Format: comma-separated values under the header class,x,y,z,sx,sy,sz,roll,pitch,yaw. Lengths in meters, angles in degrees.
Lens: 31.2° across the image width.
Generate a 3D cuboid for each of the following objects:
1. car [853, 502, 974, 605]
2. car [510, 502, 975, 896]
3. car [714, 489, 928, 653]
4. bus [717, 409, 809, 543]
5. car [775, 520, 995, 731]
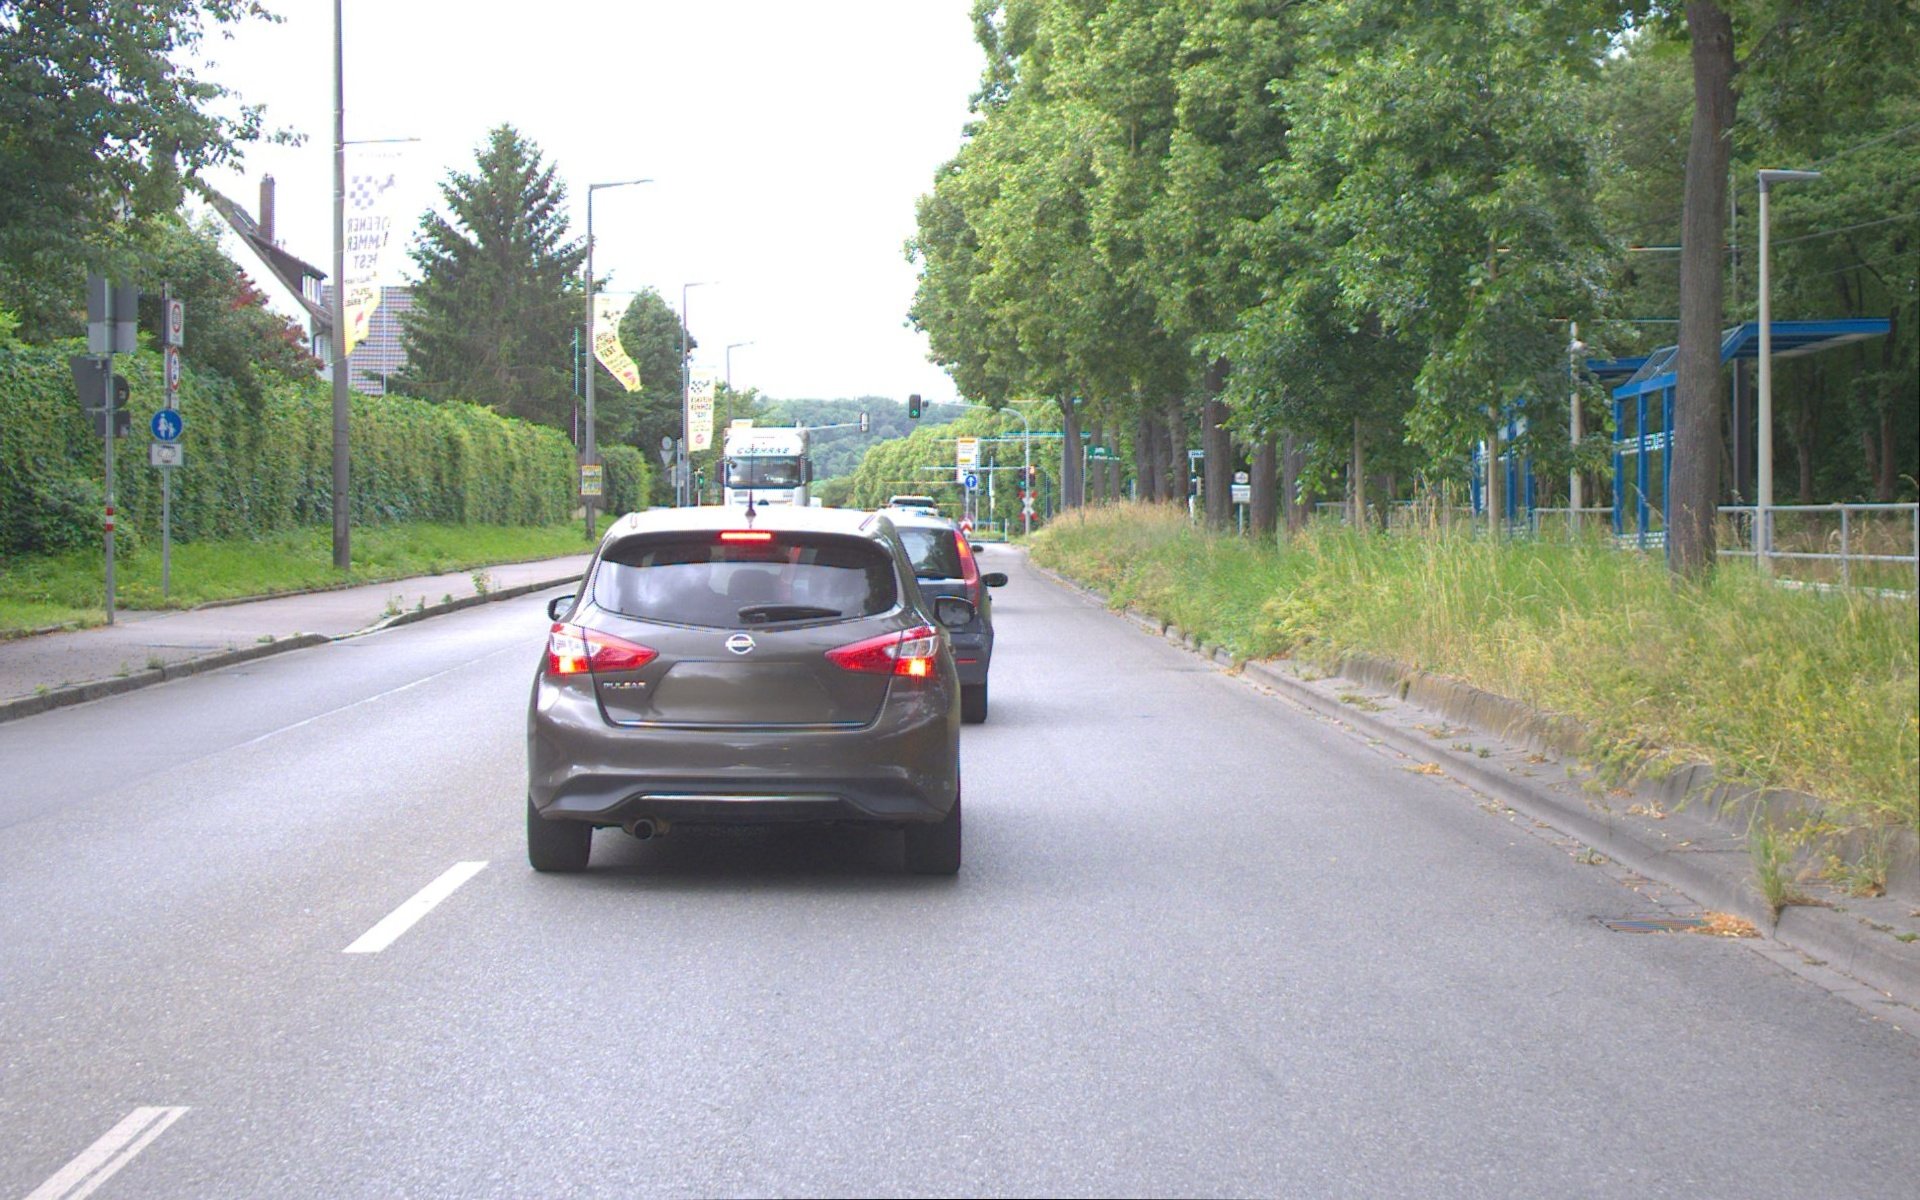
class,x,y,z,sx,sy,sz,roll,pitch,yaw
car,-0.695,-0.706,50.488,1.691,1.436,3.542,1,1,-1
car,-0.862,0.349,15.151,1.783,1.501,3.696,1,1,-1
car,-1.357,-0.301,34.979,1.993,1.481,4.000,3,1,-1
bus,-6.205,-3.924,109.521,2.487,4.012,10.218,1,2,-1
car,-0.557,0.139,25.684,1.502,1.436,3.542,1,1,-1
